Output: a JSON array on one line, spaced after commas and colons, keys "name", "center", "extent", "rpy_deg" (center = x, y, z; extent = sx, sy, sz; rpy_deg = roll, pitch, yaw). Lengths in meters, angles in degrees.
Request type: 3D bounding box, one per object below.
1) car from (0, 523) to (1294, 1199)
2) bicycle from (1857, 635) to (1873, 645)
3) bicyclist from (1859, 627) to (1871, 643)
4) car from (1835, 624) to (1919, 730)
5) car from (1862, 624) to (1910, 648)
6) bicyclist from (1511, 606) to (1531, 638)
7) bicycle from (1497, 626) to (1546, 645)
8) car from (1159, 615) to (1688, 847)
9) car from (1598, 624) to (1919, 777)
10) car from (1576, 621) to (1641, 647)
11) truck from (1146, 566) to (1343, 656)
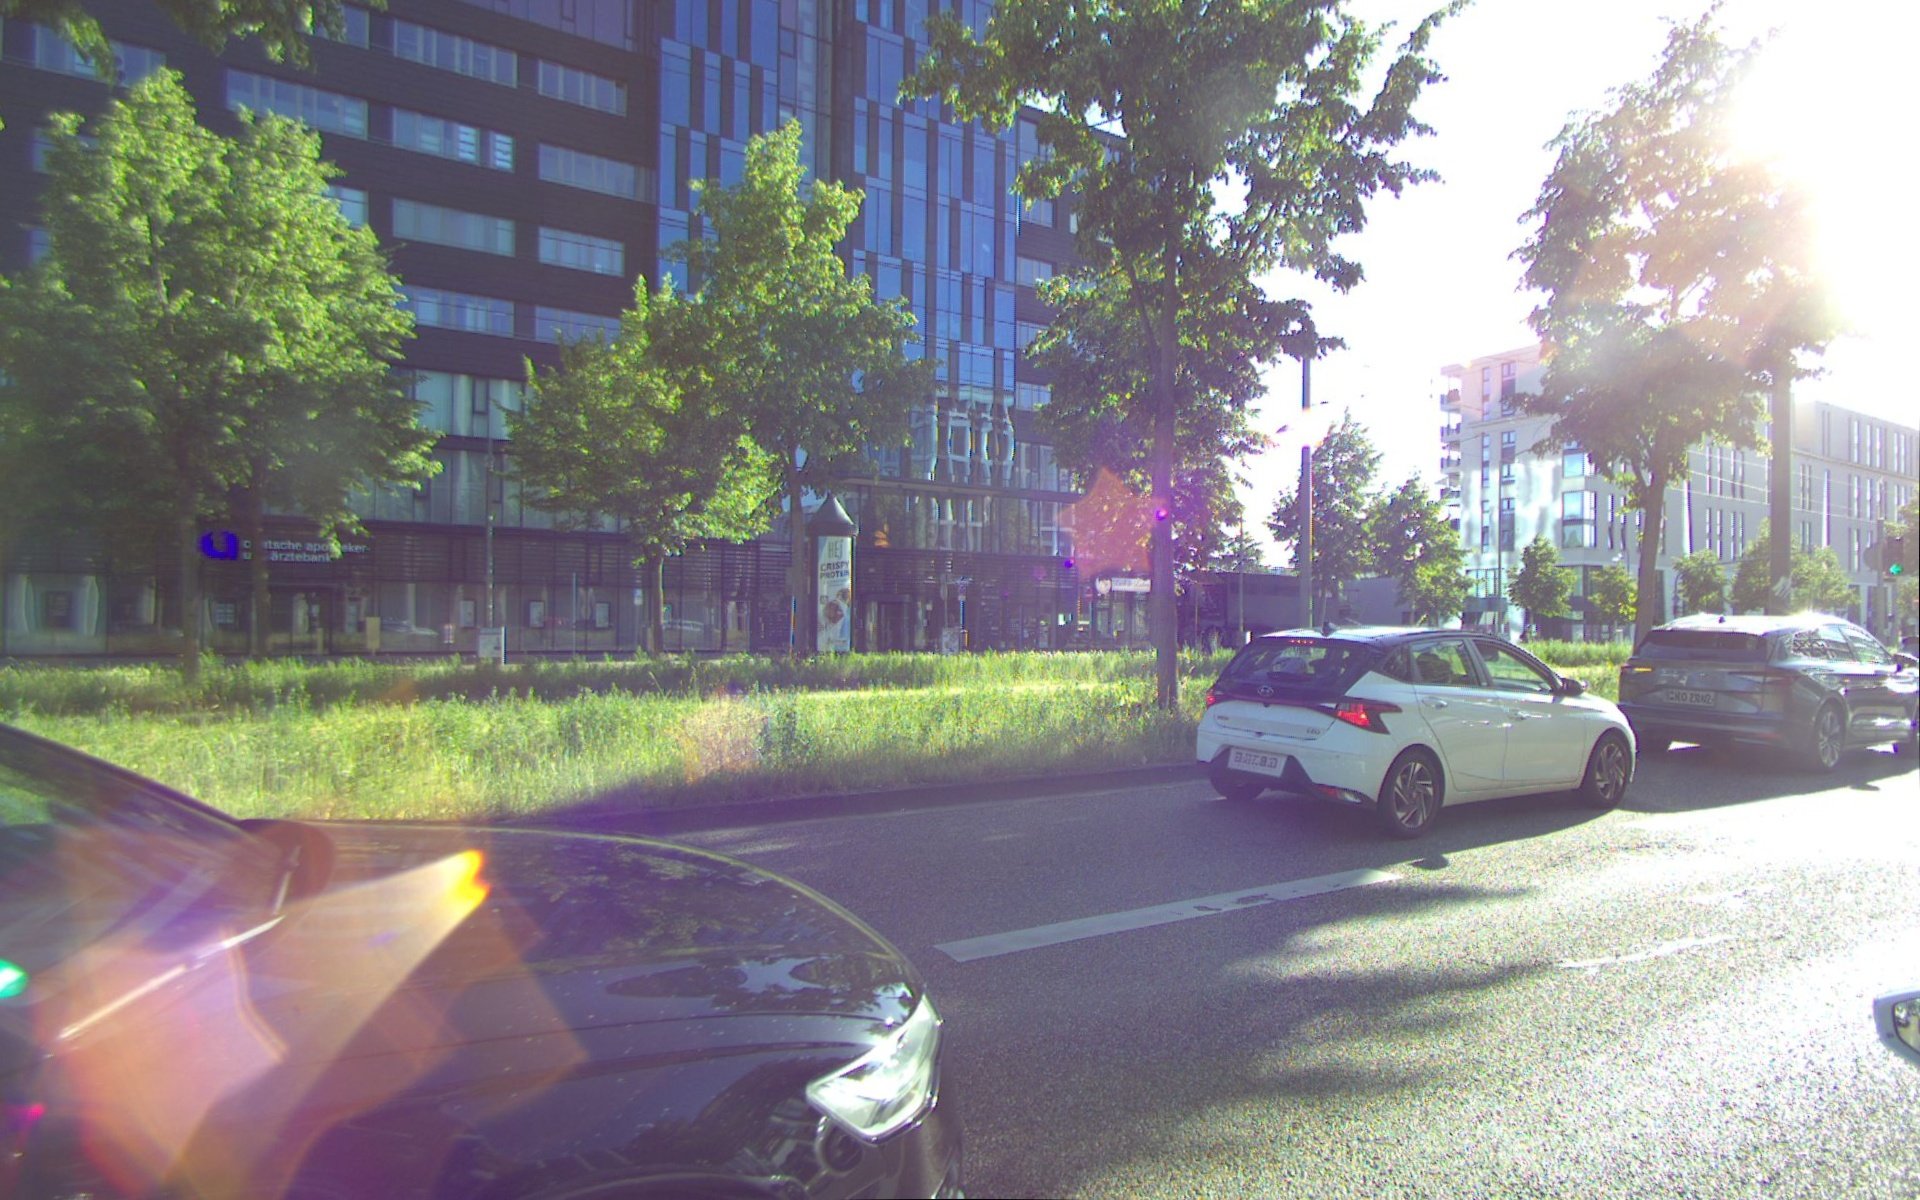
[{"name": "car", "center": [-2.013, 0.677, 1.182], "extent": [4.911, 1.504, 1.864], "rpy_deg": [1, -1, -32]}, {"name": "bicycle", "center": [88.946, 3.931, 98.724], "extent": [1.933, 1.001, 0.674], "rpy_deg": [1, -1, -31]}, {"name": "bicyclist", "center": [88.986, 3.453, 98.757], "extent": [0.706, 1.549, 0.674], "rpy_deg": [1, -1, -30]}, {"name": "car", "center": [16.020, 1.212, 16.107], "extent": [4.519, 1.503, 1.788], "rpy_deg": [1, 2, -33]}, {"name": "car", "center": [80.000, 3.083, 86.761], "extent": [3.953, 2.040, 1.984], "rpy_deg": [1, -1, -30]}, {"name": "bicyclist", "center": [38.264, 1.512, 68.495], "extent": [0.808, 2.120, 0.935], "rpy_deg": [1, -1, -29]}, {"name": "bicycle", "center": [38.247, 2.426, 68.472], "extent": [0.808, 1.206, 2.929], "rpy_deg": [1, -1, -29]}, {"name": "car", "center": [3.965, 0.895, 8.355], "extent": [4.516, 1.466, 1.790], "rpy_deg": [1, -1, -31]}, {"name": "car", "center": [9.533, 1.028, 11.630], "extent": [4.515, 1.466, 1.790], "rpy_deg": [1, -1, -31]}, {"name": "car", "center": [39.457, 2.049, 61.107], "extent": [3.953, 1.540, 1.756], "rpy_deg": [1, -1, -30]}, {"name": "truck", "center": [13.632, 0.600, 47.684], "extent": [10.094, 3.904, 2.877], "rpy_deg": [1, -1, -31]}]
